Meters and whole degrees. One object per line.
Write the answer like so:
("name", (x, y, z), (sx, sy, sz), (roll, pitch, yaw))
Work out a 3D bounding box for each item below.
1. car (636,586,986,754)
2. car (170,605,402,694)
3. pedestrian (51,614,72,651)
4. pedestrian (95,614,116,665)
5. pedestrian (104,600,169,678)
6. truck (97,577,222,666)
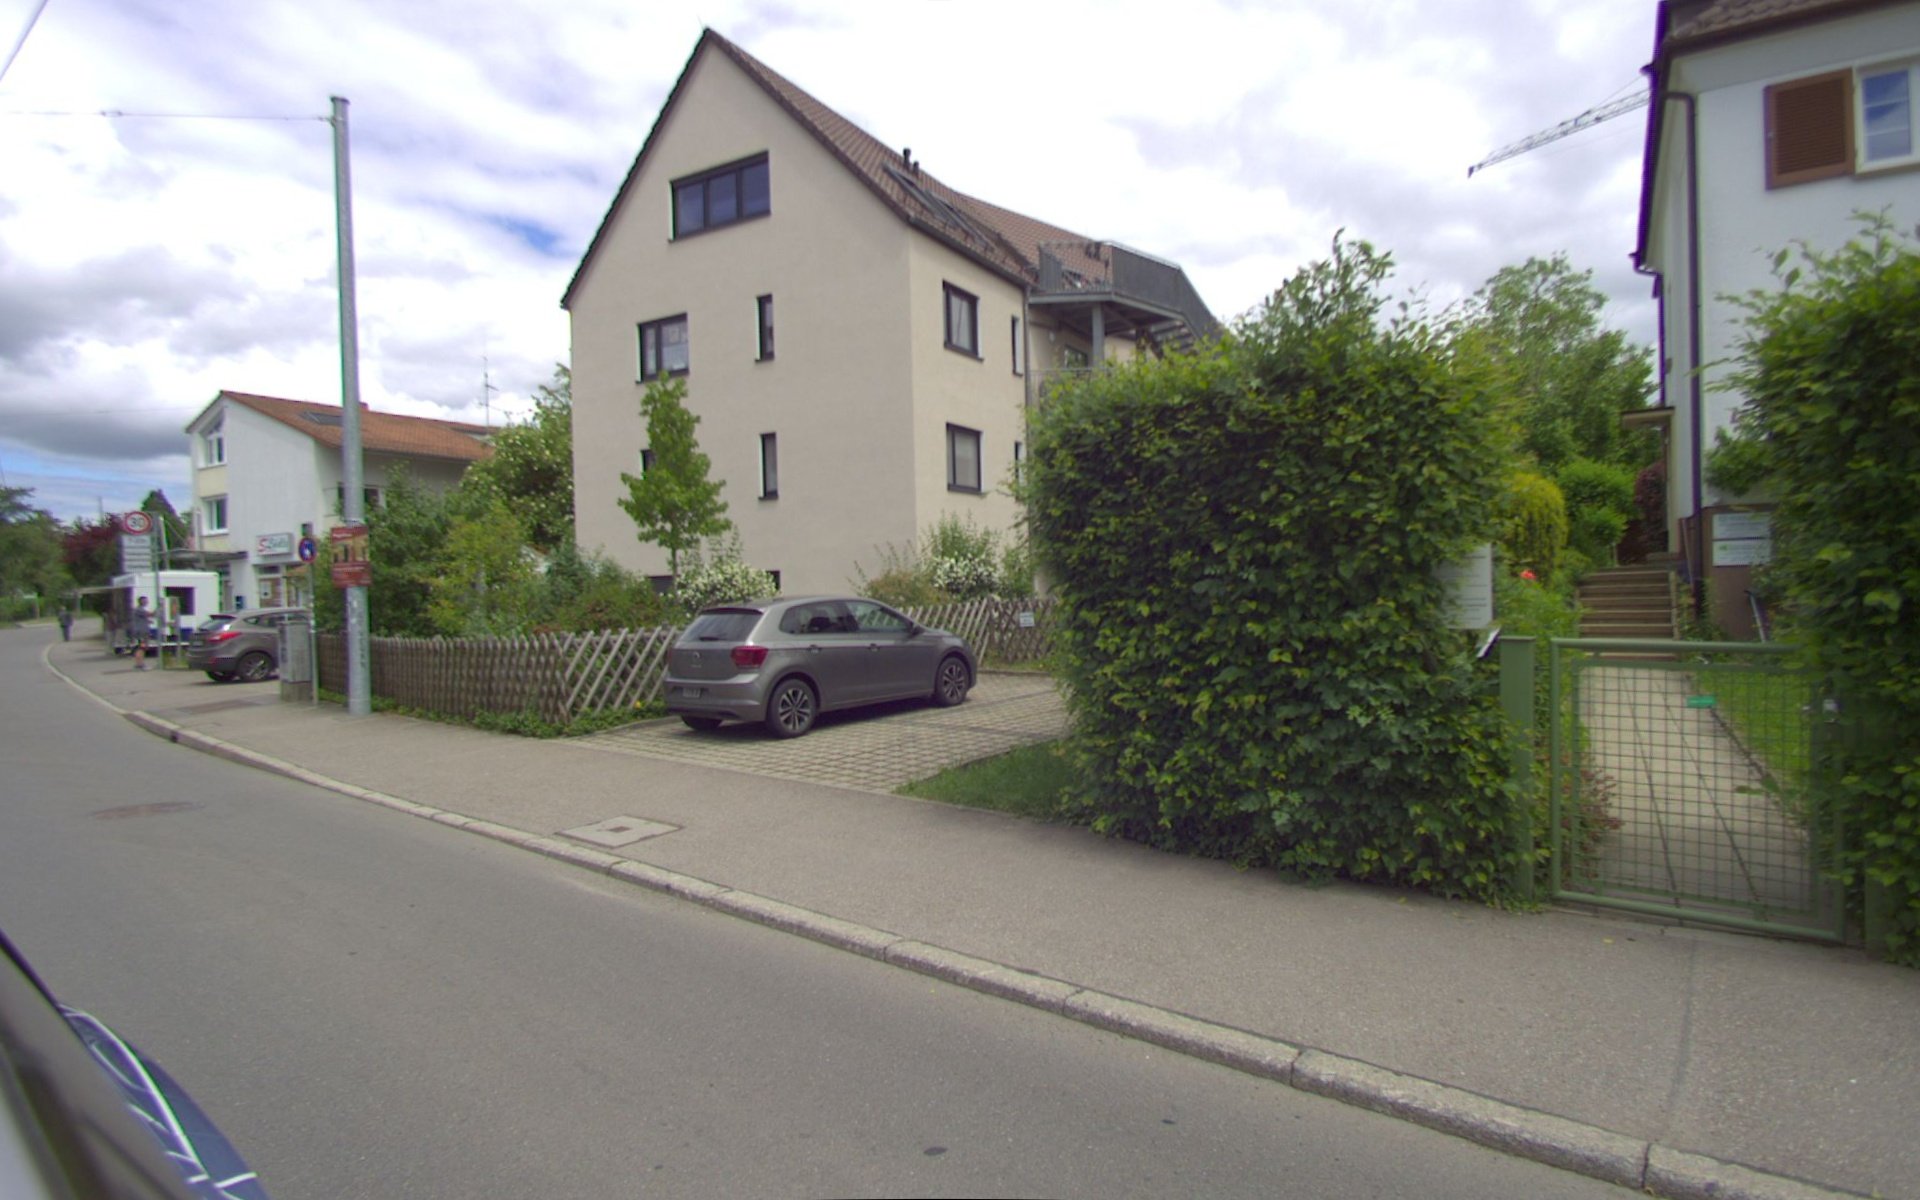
("car", (-1.583, 0.657, 11.659), (1.817, 1.444, 3.633), (-1, 3, 42))
("car", (-16.162, 1.114, 24.502), (1.792, 1.708, 4.278), (-1, 2, 33))
("pedestrian", (-45.663, 1.640, 51.448), (0.714, 1.698, 1.111), (-4, 7, -42))
("pedestrian", (-29.097, 1.341, 34.461), (0.597, 1.707, 0.397), (-1, 2, 43))
("pedestrian", (-21.906, 1.015, 26.927), (1.199, 1.960, 0.736), (-4, 2, -42))
("truck", (-28.444, 0.692, 35.839), (6.707, 2.862, 2.446), (-1, 1, 43))
